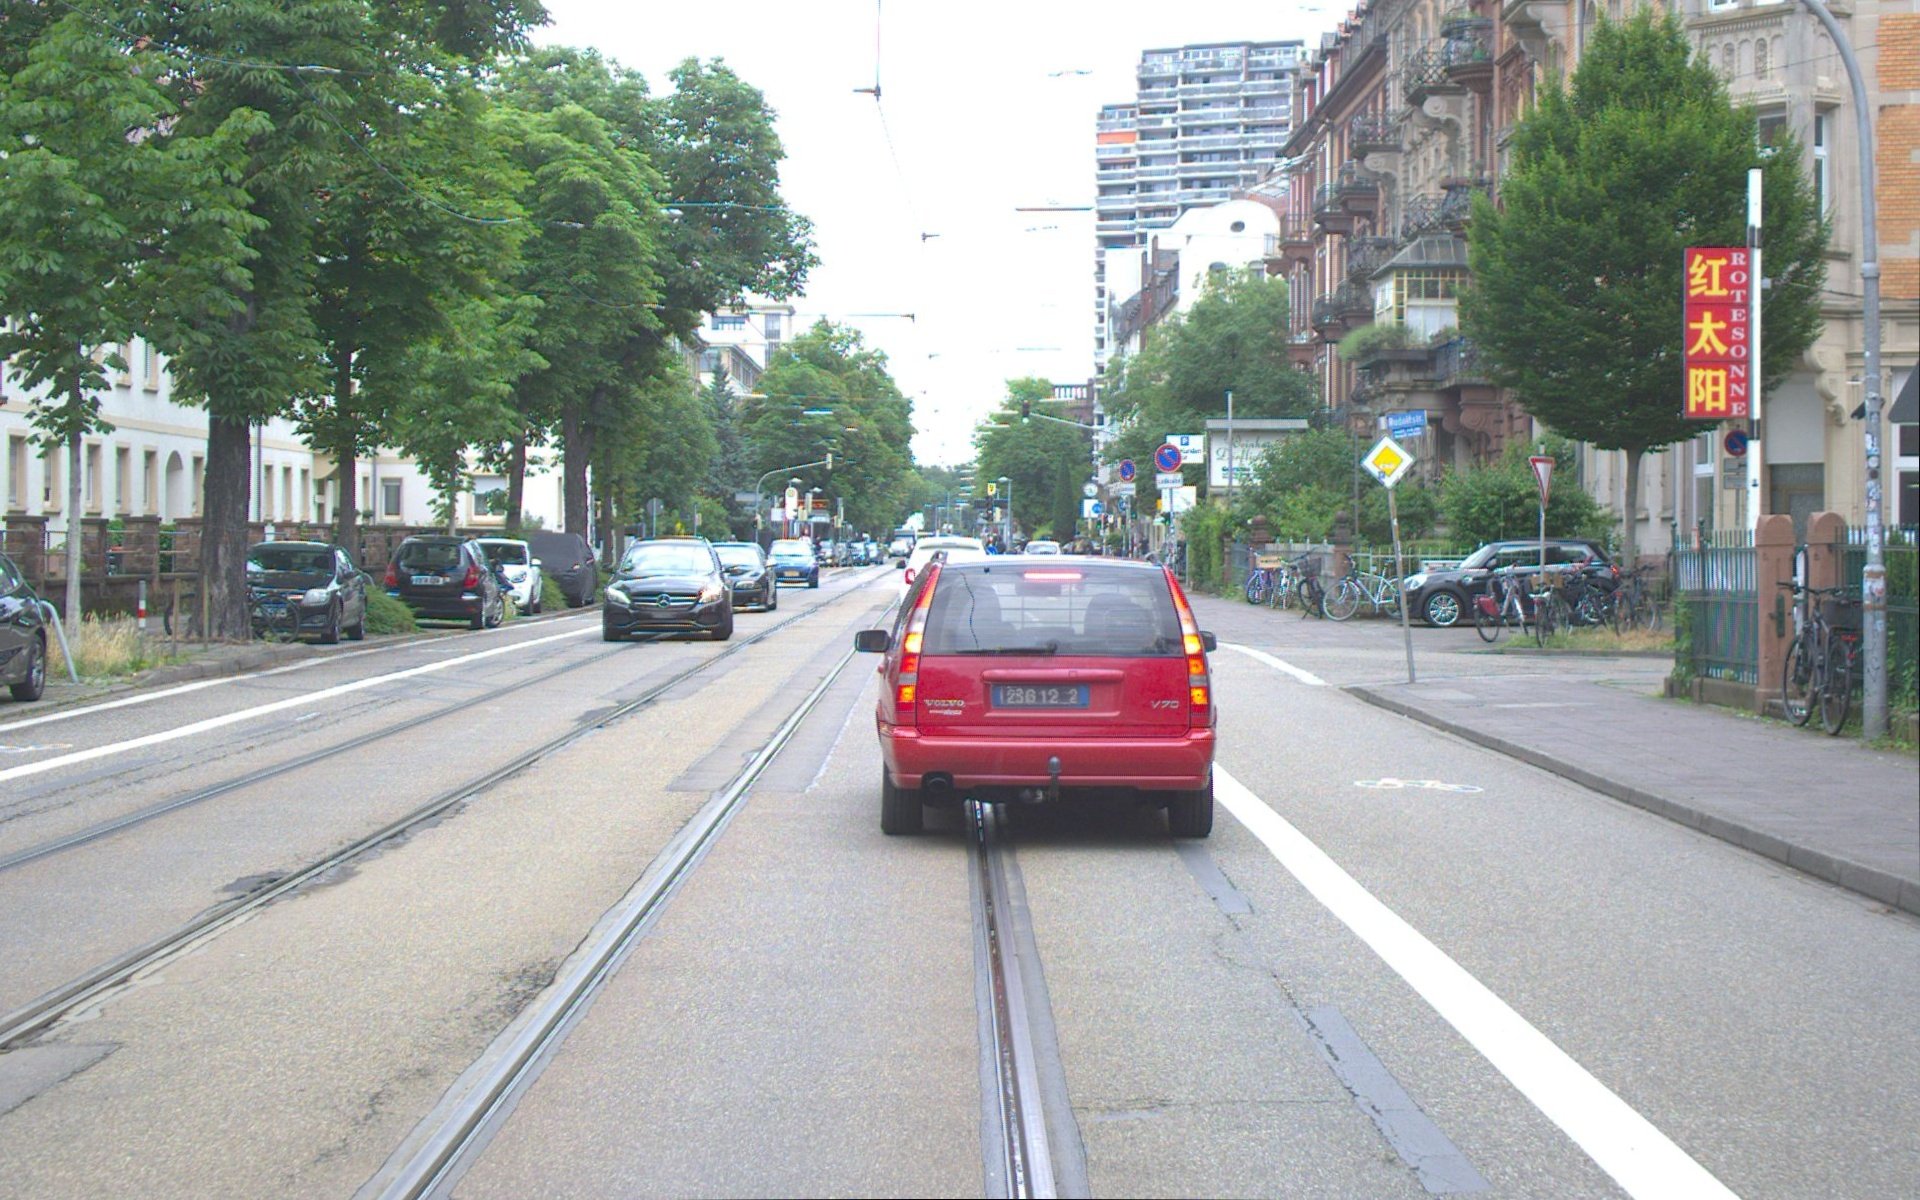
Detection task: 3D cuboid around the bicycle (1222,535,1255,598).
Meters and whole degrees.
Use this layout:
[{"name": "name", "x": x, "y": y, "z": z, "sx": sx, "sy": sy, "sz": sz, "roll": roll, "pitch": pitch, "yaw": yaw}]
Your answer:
[{"name": "bicycle", "x": 6.533, "y": -0.802, "z": 80.775, "sx": 0.555, "sy": 1.453, "sz": 2.985, "roll": 1, "pitch": 1, "yaw": 1}]

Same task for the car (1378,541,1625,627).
[{"name": "car", "x": 9.014, "y": -0.277, "z": 57.203, "sx": 3.989, "sy": 1.357, "sz": 1.891, "roll": 1, "pitch": 1, "yaw": 10}]

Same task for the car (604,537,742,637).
[{"name": "car", "x": -4.165, "y": -0.219, "z": 50.377, "sx": 1.755, "sy": 1.375, "sz": 4.027, "roll": 1, "pitch": 1, "yaw": -1}]

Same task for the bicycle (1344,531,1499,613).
[{"name": "bicycle", "x": 9.390, "y": -0.570, "z": 70.081, "sx": 2.975, "sy": 1.619, "sz": 1.050, "roll": 1, "pitch": 1, "yaw": -2}]

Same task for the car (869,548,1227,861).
[{"name": "car", "x": 0.410, "y": 0.467, "z": 18.152, "sx": 1.689, "sy": 1.436, "sz": 3.743, "roll": 0, "pitch": 1, "yaw": 0}]

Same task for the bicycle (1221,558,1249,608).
[{"name": "bicycle", "x": 6.159, "y": -0.393, "z": 77.007, "sx": 0.490, "sy": 1.095, "sz": 1.734, "roll": 0, "pitch": 1, "yaw": 0}]

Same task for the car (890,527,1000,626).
[{"name": "car", "x": -0.232, "y": -0.427, "z": 58.879, "sx": 1.719, "sy": 1.619, "sz": 3.941, "roll": 1, "pitch": 1, "yaw": 2}]

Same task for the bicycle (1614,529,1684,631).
[{"name": "bicycle", "x": 10.521, "y": -0.319, "z": 52.469, "sx": 0.790, "sy": 1.501, "sz": 2.379, "roll": 1, "pitch": 1, "yaw": 17}]

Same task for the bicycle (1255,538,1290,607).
[{"name": "bicycle", "x": 6.483, "y": -0.578, "z": 71.310, "sx": 0.551, "sy": 1.395, "sz": 1.734, "roll": 0, "pitch": 1, "yaw": 0}]

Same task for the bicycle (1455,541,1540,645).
[{"name": "bicycle", "x": 8.082, "y": -0.126, "z": 51.610, "sx": 0.918, "sy": 1.501, "sz": 2.379, "roll": 1, "pitch": 1, "yaw": 17}]

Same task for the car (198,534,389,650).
[{"name": "car", "x": -8.996, "y": -0.140, "z": 46.669, "sx": 1.718, "sy": 1.477, "sz": 4.000, "roll": 1, "pitch": 1, "yaw": 1}]

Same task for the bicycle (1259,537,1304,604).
[{"name": "bicycle", "x": 6.331, "y": -0.587, "z": 67.708, "sx": 0.708, "sy": 1.296, "sz": 1.904, "roll": 0, "pitch": 1, "yaw": 0}]

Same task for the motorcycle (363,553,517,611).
[{"name": "motorcycle", "x": -9.948, "y": -0.342, "z": 65.904, "sx": 2.869, "sy": 1.073, "sz": 1.100, "roll": 0, "pitch": 1, "yaw": -6}]

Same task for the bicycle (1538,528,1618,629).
[{"name": "bicycle", "x": 9.487, "y": -0.339, "z": 52.687, "sx": 0.918, "sy": 1.501, "sz": 2.379, "roll": 1, "pitch": 1, "yaw": 17}]

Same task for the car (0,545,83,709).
[{"name": "car", "x": -9.206, "y": 0.225, "z": 30.029, "sx": 1.890, "sy": 1.393, "sz": 4.417, "roll": 1, "pitch": 1, "yaw": 1}]

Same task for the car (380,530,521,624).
[{"name": "car", "x": -8.830, "y": -0.430, "z": 59.856, "sx": 1.851, "sy": 1.557, "sz": 3.943, "roll": 1, "pitch": 1, "yaw": 0}]

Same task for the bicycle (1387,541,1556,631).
[{"name": "bicycle", "x": 9.582, "y": -0.273, "z": 64.519, "sx": 2.975, "sy": 1.619, "sz": 1.050, "roll": 1, "pitch": 1, "yaw": -2}]

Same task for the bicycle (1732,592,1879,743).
[{"name": "bicycle", "x": 6.230, "y": 0.478, "z": 25.429, "sx": 0.523, "sy": 1.027, "sz": 2.176, "roll": 1, "pitch": 1, "yaw": 0}]

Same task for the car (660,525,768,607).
[{"name": "car", "x": -5.004, "y": -0.718, "z": 70.453, "sx": 1.894, "sy": 1.605, "sz": 4.500, "roll": 1, "pitch": 1, "yaw": 0}]

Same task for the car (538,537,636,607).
[{"name": "car", "x": -8.194, "y": -0.632, "z": 75.843, "sx": 1.720, "sy": 1.481, "sz": 4.000, "roll": 0, "pitch": 1, "yaw": 0}]

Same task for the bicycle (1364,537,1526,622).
[{"name": "bicycle", "x": 9.508, "y": -0.407, "z": 67.499, "sx": 2.975, "sy": 1.619, "sz": 1.050, "roll": 1, "pitch": 1, "yaw": -2}]

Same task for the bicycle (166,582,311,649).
[{"name": "bicycle", "x": -9.453, "y": 0.203, "z": 45.078, "sx": 1.749, "sy": 0.841, "sz": 0.684, "roll": 1, "pitch": 1, "yaw": 1}]

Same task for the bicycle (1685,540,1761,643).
[{"name": "bicycle", "x": 11.519, "y": -0.141, "z": 51.852, "sx": 0.918, "sy": 1.501, "sz": 2.379, "roll": 1, "pitch": 1, "yaw": 17}]

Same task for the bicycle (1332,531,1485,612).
[{"name": "bicycle", "x": 9.285, "y": -0.595, "z": 71.258, "sx": 2.975, "sy": 1.619, "sz": 1.050, "roll": 1, "pitch": 1, "yaw": -2}]

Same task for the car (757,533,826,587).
[{"name": "car", "x": -5.303, "y": -1.280, "z": 108.503, "sx": 1.894, "sy": 1.605, "sz": 4.500, "roll": 1, "pitch": 1, "yaw": 0}]

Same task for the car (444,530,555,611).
[{"name": "car", "x": -9.505, "y": -0.629, "z": 71.214, "sx": 1.713, "sy": 1.575, "sz": 4.000, "roll": 2, "pitch": 1, "yaw": 0}]

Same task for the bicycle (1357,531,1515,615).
[{"name": "bicycle", "x": 9.534, "y": -0.544, "z": 68.934, "sx": 2.975, "sy": 1.619, "sz": 1.050, "roll": 1, "pitch": 1, "yaw": -2}]
